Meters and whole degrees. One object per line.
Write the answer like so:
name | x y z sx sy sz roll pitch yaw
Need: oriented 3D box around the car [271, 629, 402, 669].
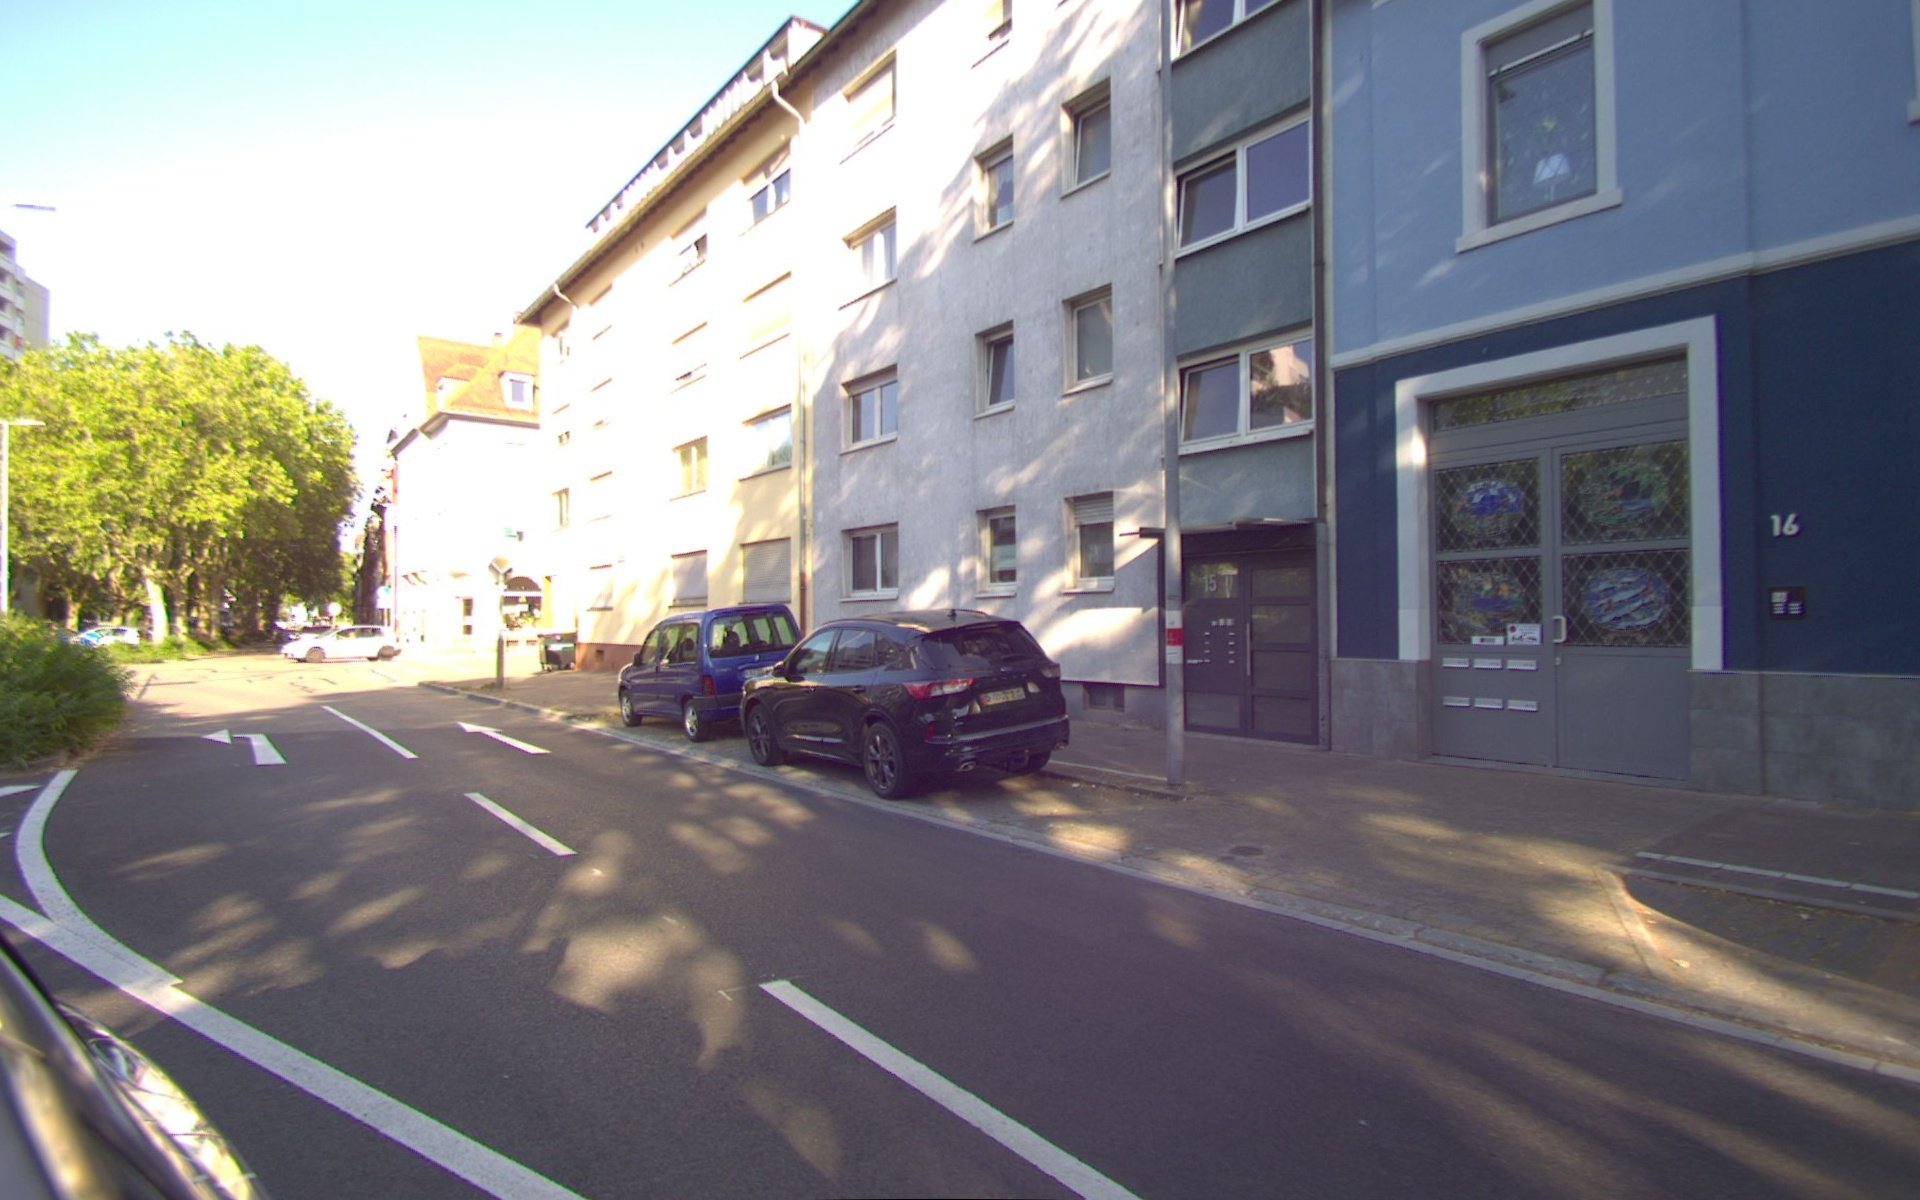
car | -25.092 1.926 40.820 1.801 1.523 4.146 -2 -2 42

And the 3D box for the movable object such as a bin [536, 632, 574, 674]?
movable object such as a bin | -12.804 1.662 31.971 1.017 1.296 1.065 1 -2 -27

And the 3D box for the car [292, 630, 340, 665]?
car | -34.476 2.493 54.175 1.868 1.806 4.009 1 -2 -36

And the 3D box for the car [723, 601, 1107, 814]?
car | -0.724 0.924 10.592 1.881 1.685 4.504 -1 -1 -34

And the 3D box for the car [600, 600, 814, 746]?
car | -3.881 0.978 15.036 1.642 1.832 4.014 -1 -1 -36

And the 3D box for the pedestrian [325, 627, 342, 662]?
pedestrian | -31.075 2.184 50.223 0.662 1.725 0.715 1 -2 -28

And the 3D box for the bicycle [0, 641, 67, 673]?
bicycle | -33.054 2.017 36.036 0.628 1.098 1.843 -2 -2 44
